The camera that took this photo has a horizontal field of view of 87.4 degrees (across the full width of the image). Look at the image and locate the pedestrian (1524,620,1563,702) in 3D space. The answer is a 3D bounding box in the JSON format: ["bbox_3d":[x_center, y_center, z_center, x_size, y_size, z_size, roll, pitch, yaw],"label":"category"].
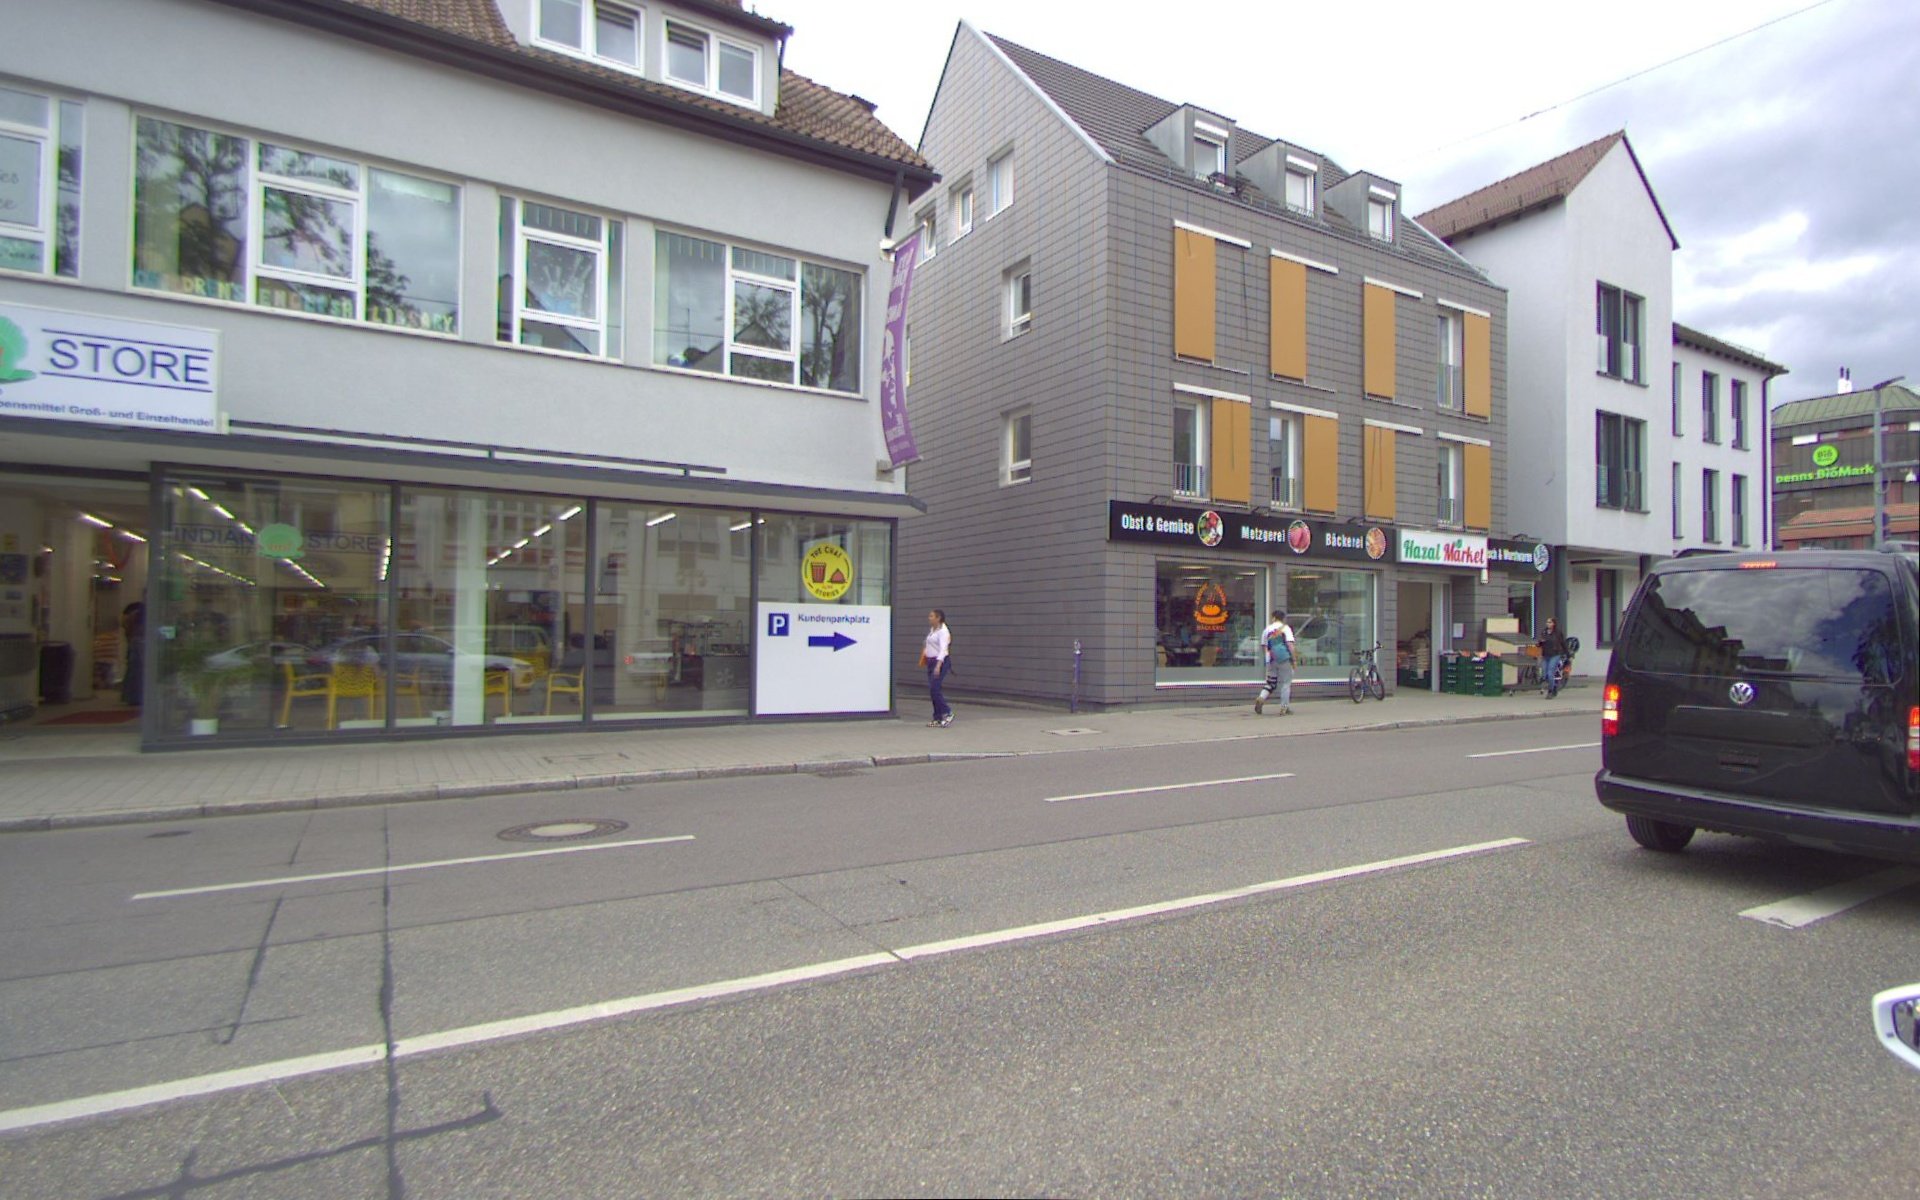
[{"bbox_3d":[12.095,1.244,20.808,0.643,1.672,0.557,0,-1,36],"label":"pedestrian"}]

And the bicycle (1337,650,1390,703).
[{"bbox_3d":[7.709,1.445,19.182,1.472,0.966,0.323,1,-2,-42],"label":"bicycle"}]

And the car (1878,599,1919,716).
[{"bbox_3d":[18.161,0.967,17.498,5.103,1.913,1.982,1,-3,-33],"label":"car"}]

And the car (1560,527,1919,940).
[{"bbox_3d":[5.959,0.637,6.385,4.581,1.880,1.735,1,0,-31],"label":"car"}]

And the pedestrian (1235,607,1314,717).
[{"bbox_3d":[5.205,1.005,16.624,0.969,1.728,0.750,1,2,-30],"label":"pedestrian"}]

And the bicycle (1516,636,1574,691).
[{"bbox_3d":[13.370,1.434,22.937,1.806,1.202,0.384,1,-2,-34],"label":"bicycle"}]

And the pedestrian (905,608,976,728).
[{"bbox_3d":[-0.281,0.943,14.232,0.744,1.631,0.725,1,-1,-30],"label":"pedestrian"}]
